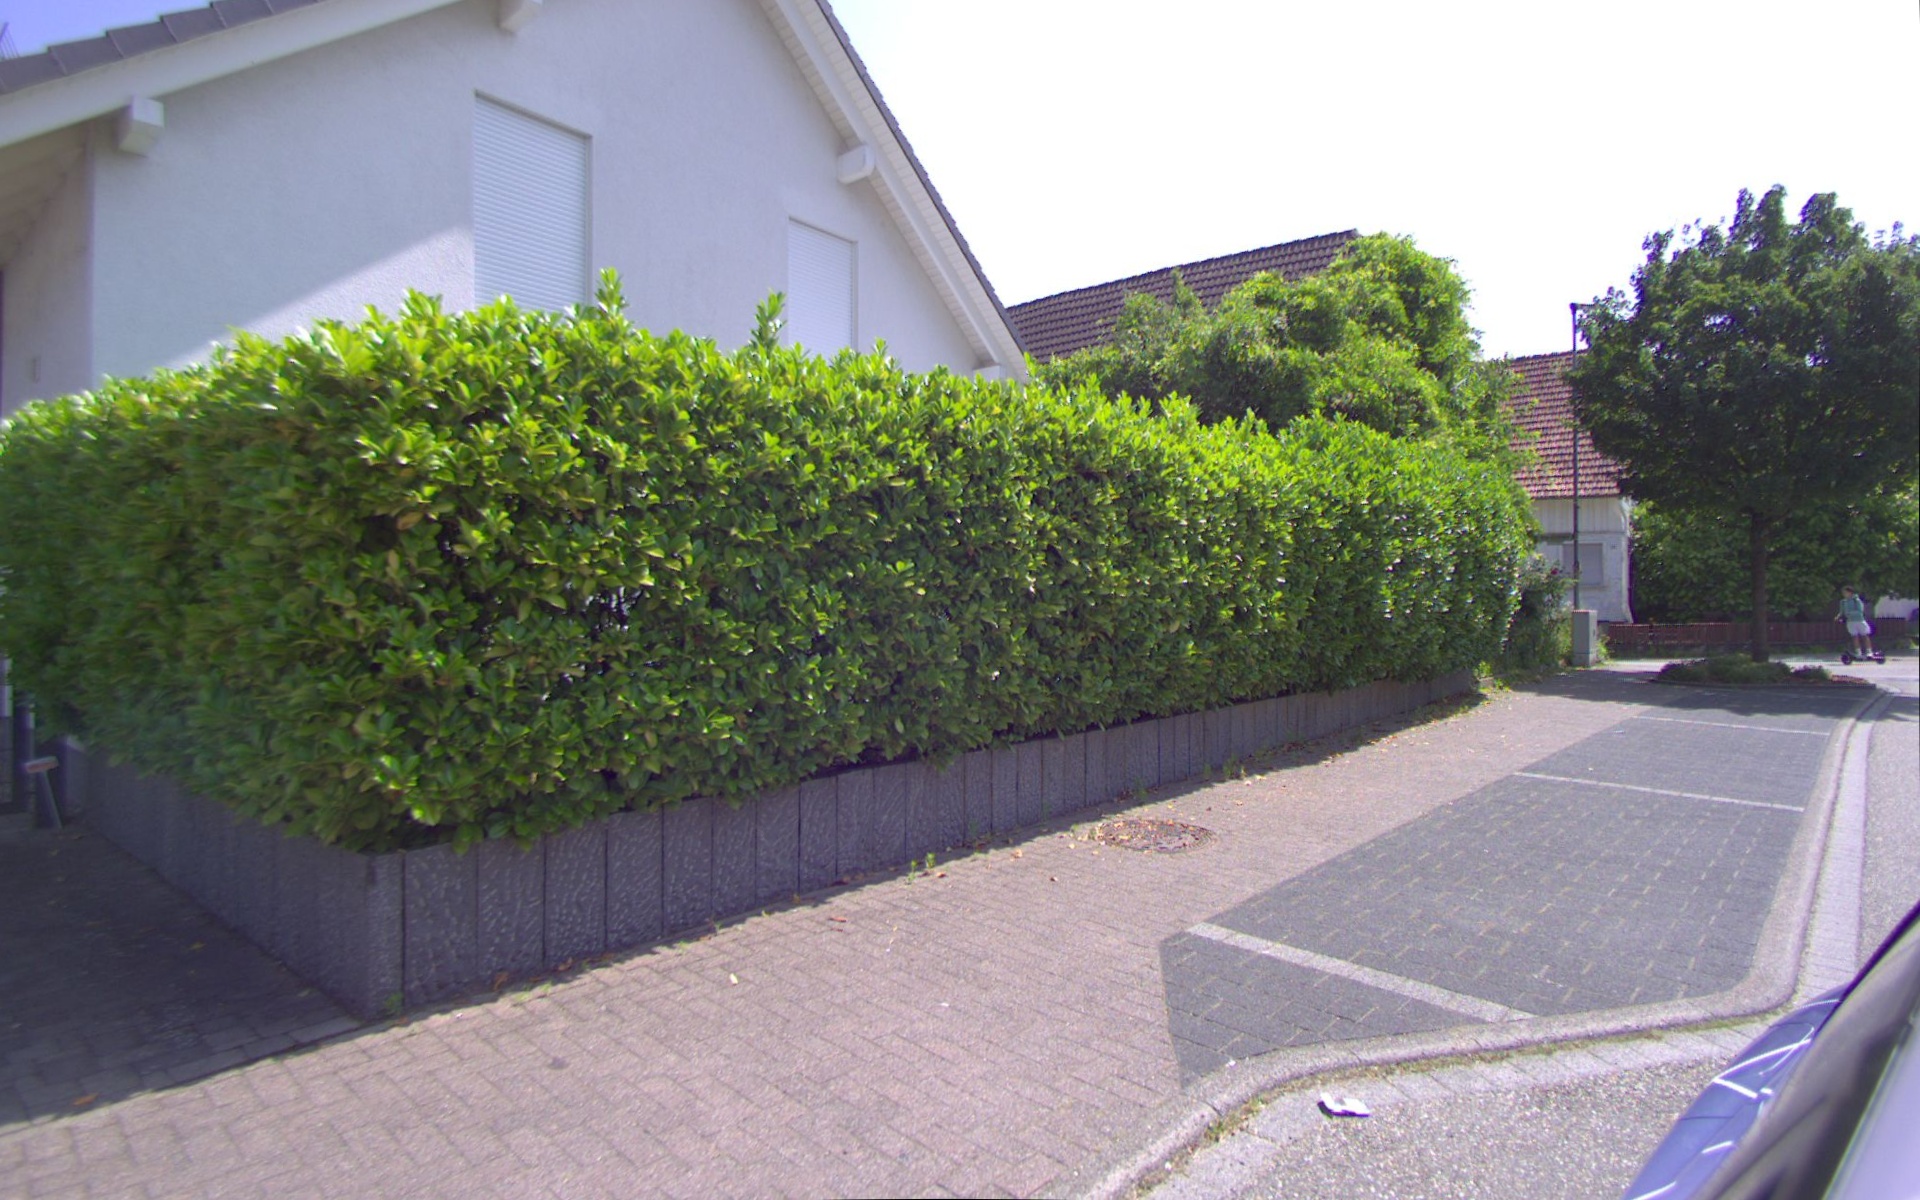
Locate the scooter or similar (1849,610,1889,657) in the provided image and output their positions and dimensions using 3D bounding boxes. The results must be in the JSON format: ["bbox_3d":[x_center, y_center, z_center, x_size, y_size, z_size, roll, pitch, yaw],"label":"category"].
[{"bbox_3d":[21.905,0.805,24.397,0.677,1.103,0.543,0,0,-32],"label":"scooter or similar"}]

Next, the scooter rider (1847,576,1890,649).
[{"bbox_3d":[21.897,0.289,24.400,0.628,1.746,0.618,0,0,-32],"label":"scooter rider"}]
